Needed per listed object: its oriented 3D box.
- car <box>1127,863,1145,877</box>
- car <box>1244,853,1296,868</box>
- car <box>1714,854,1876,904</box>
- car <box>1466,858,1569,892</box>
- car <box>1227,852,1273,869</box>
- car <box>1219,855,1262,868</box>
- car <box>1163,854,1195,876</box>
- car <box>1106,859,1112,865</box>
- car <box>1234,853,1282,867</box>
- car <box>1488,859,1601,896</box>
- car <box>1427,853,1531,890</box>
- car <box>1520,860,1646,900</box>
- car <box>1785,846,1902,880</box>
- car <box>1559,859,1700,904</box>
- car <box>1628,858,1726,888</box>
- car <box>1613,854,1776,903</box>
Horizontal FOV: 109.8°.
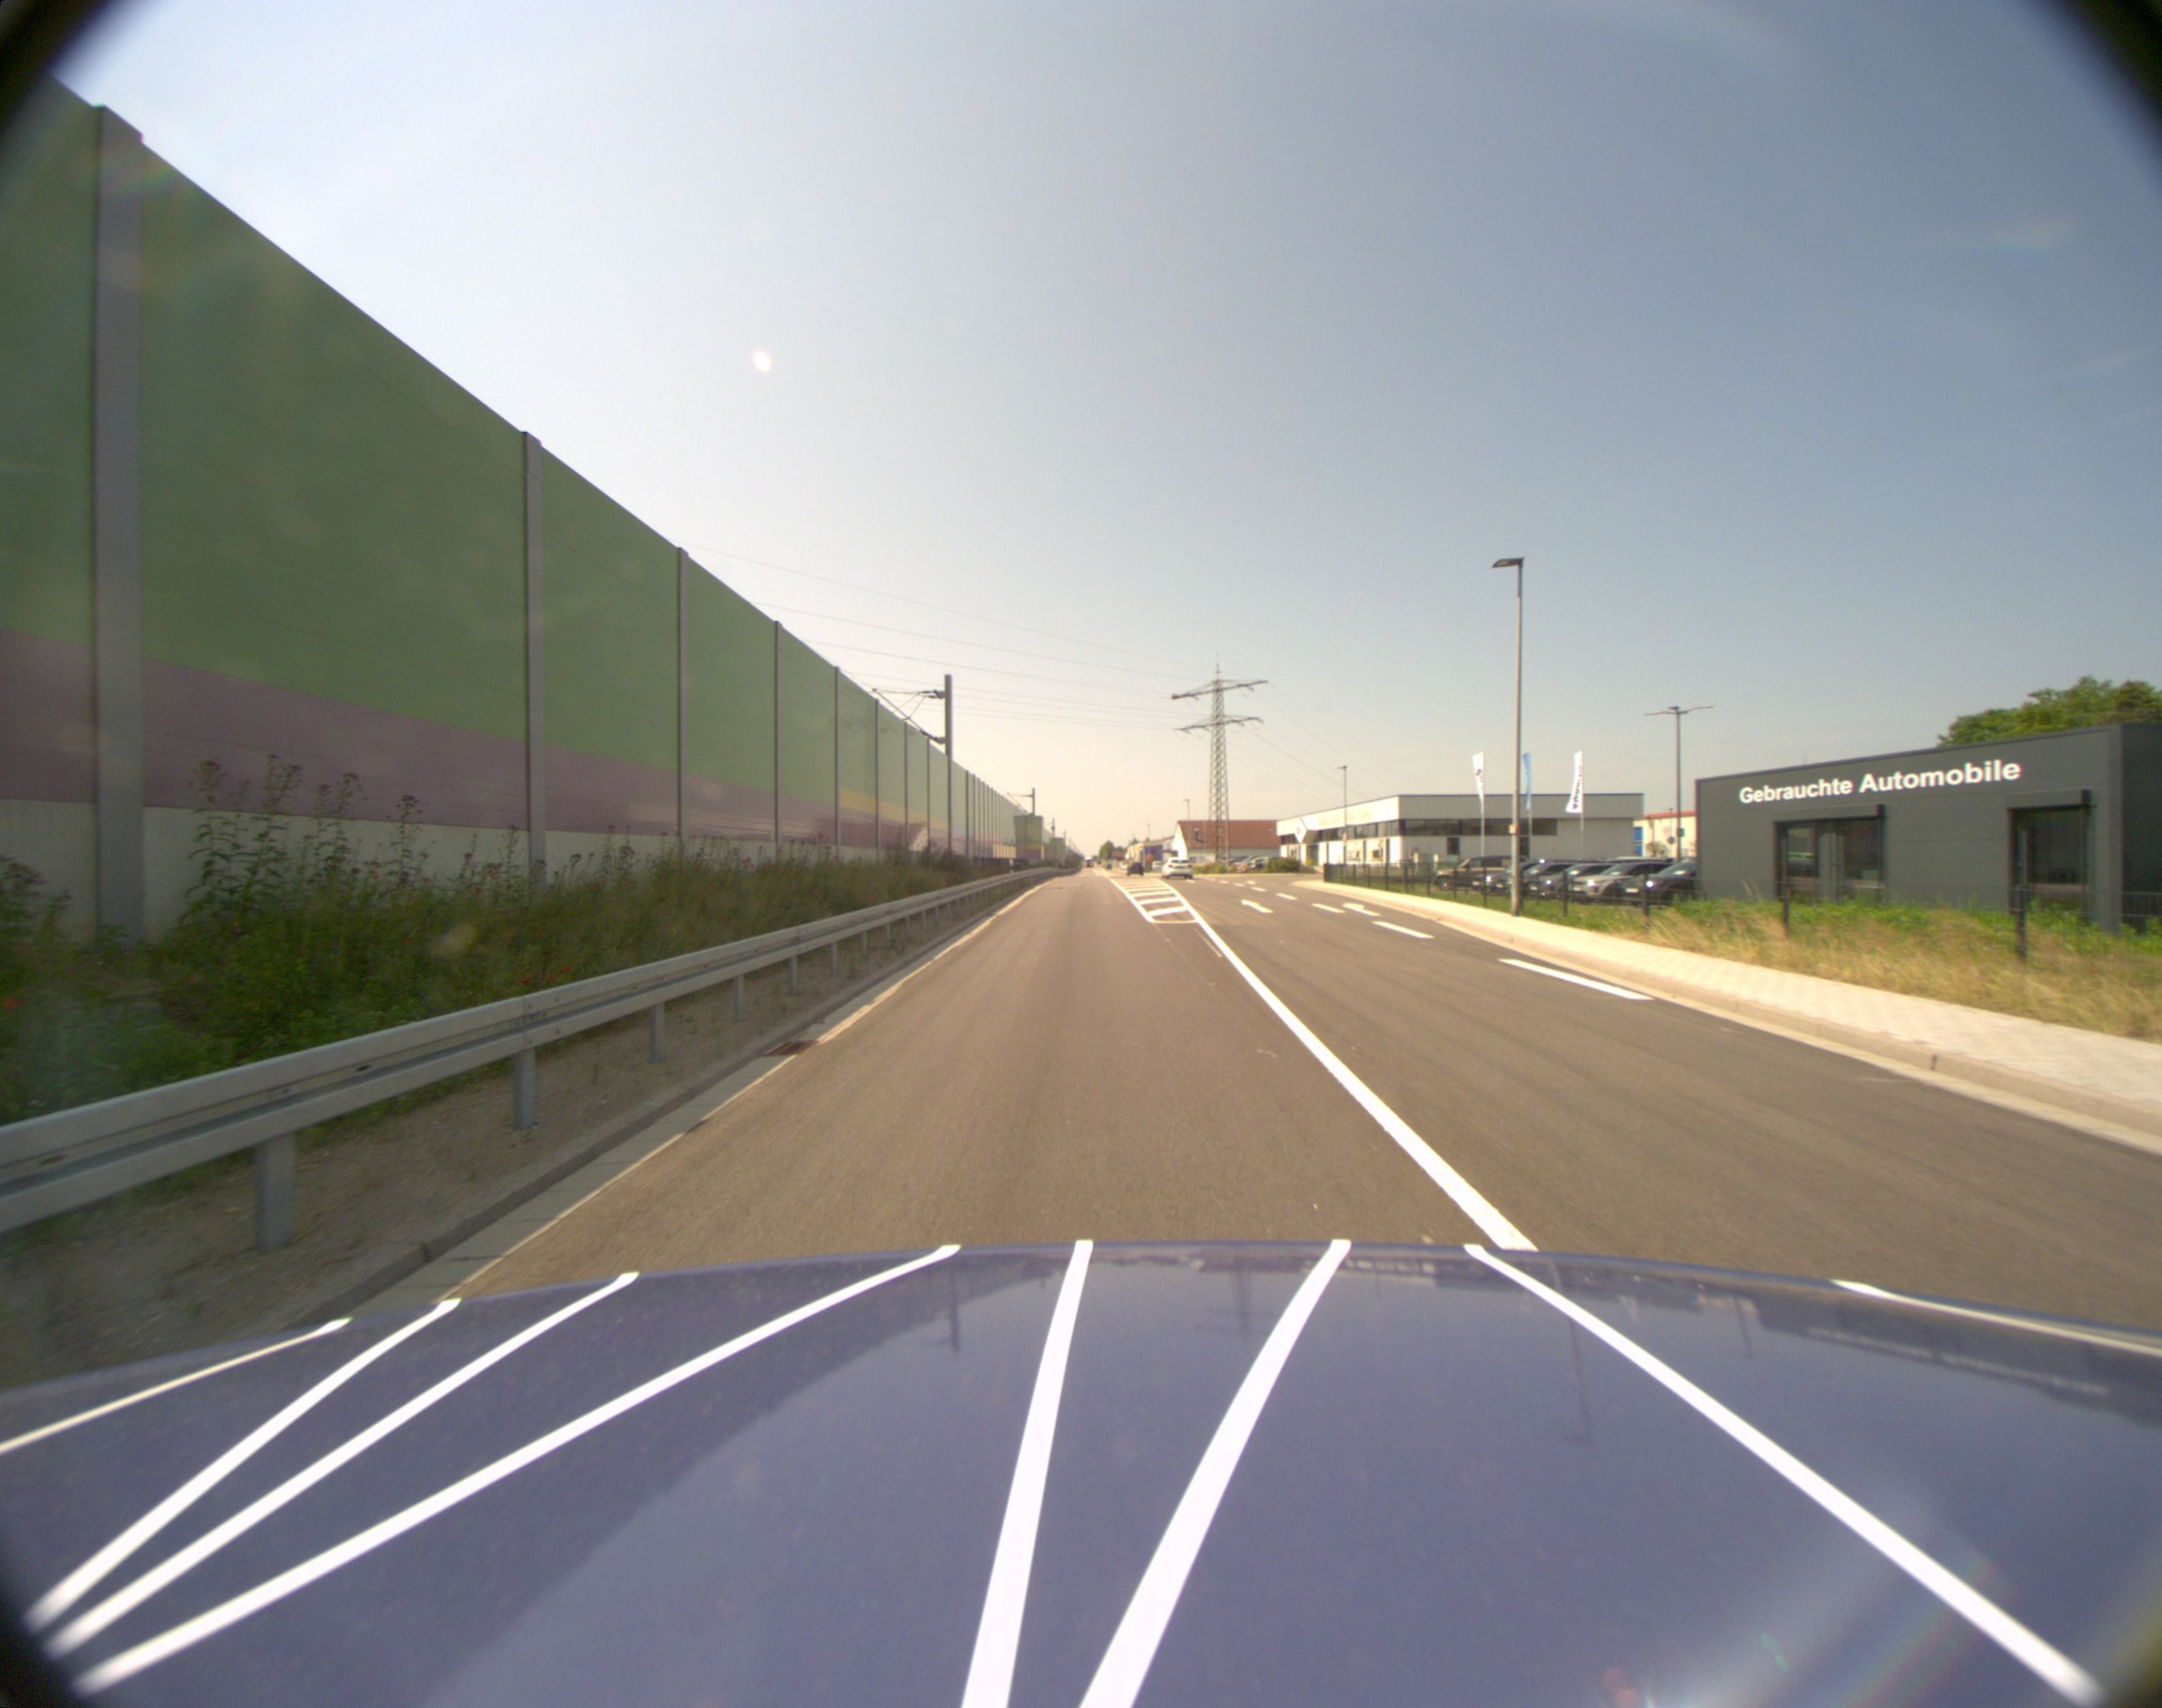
[{"bbox_3d":[6.570,1.890,90.895,1.882,1.663,4.291,0,-1,1],"label":"car"},{"bbox_3d":[17.191,0.613,69.283,4.235,1.386,1.833,0,-1,-3],"label":"car"},{"bbox_3d":[24.906,0.834,26.753,1.821,1.622,4.162,0,-1,0],"label":"car"},{"bbox_3d":[21.388,1.004,37.362,3.997,1.622,1.886,0,-1,-1],"label":"car"},{"bbox_3d":[17.029,0.645,76.551,4.235,1.638,1.833,0,-1,-3],"label":"car"},{"bbox_3d":[16.679,0.787,79.697,3.999,1.405,1.999,0,-1,-6],"label":"car"},{"bbox_3d":[6.602,0.742,51.542,1.785,1.407,4.050,0,0,3],"label":"car"},{"bbox_3d":[7.979,2.305,218.283,1.675,1.414,4.000,1,-1,0],"label":"car"},{"bbox_3d":[17.101,0.544,73.429,4.235,1.307,1.833,0,-1,-3],"label":"car"},{"bbox_3d":[21.093,1.061,34.687,3.997,1.622,1.977,0,-1,-1],"label":"car"},{"bbox_3d":[21.437,0.900,41.044,4.666,1.854,2.070,0,2,38],"label":"car"},{"bbox_3d":[21.046,1.069,31.971,3.997,1.622,1.977,0,-1,-1],"label":"car"},{"bbox_3d":[38.667,0.455,38.613,3.997,1.655,1.977,0,-1,-1],"label":"car"},{"bbox_3d":[21.019,1.035,29.270,3.996,1.622,1.968,0,-1,1],"label":"car"},{"bbox_3d":[33.404,1.053,42.665,3.997,1.655,1.977,0,-1,-1],"label":"car"},{"bbox_3d":[20.947,0.826,26.053,4.159,1.622,1.823,0,-1,-1],"label":"car"}]
